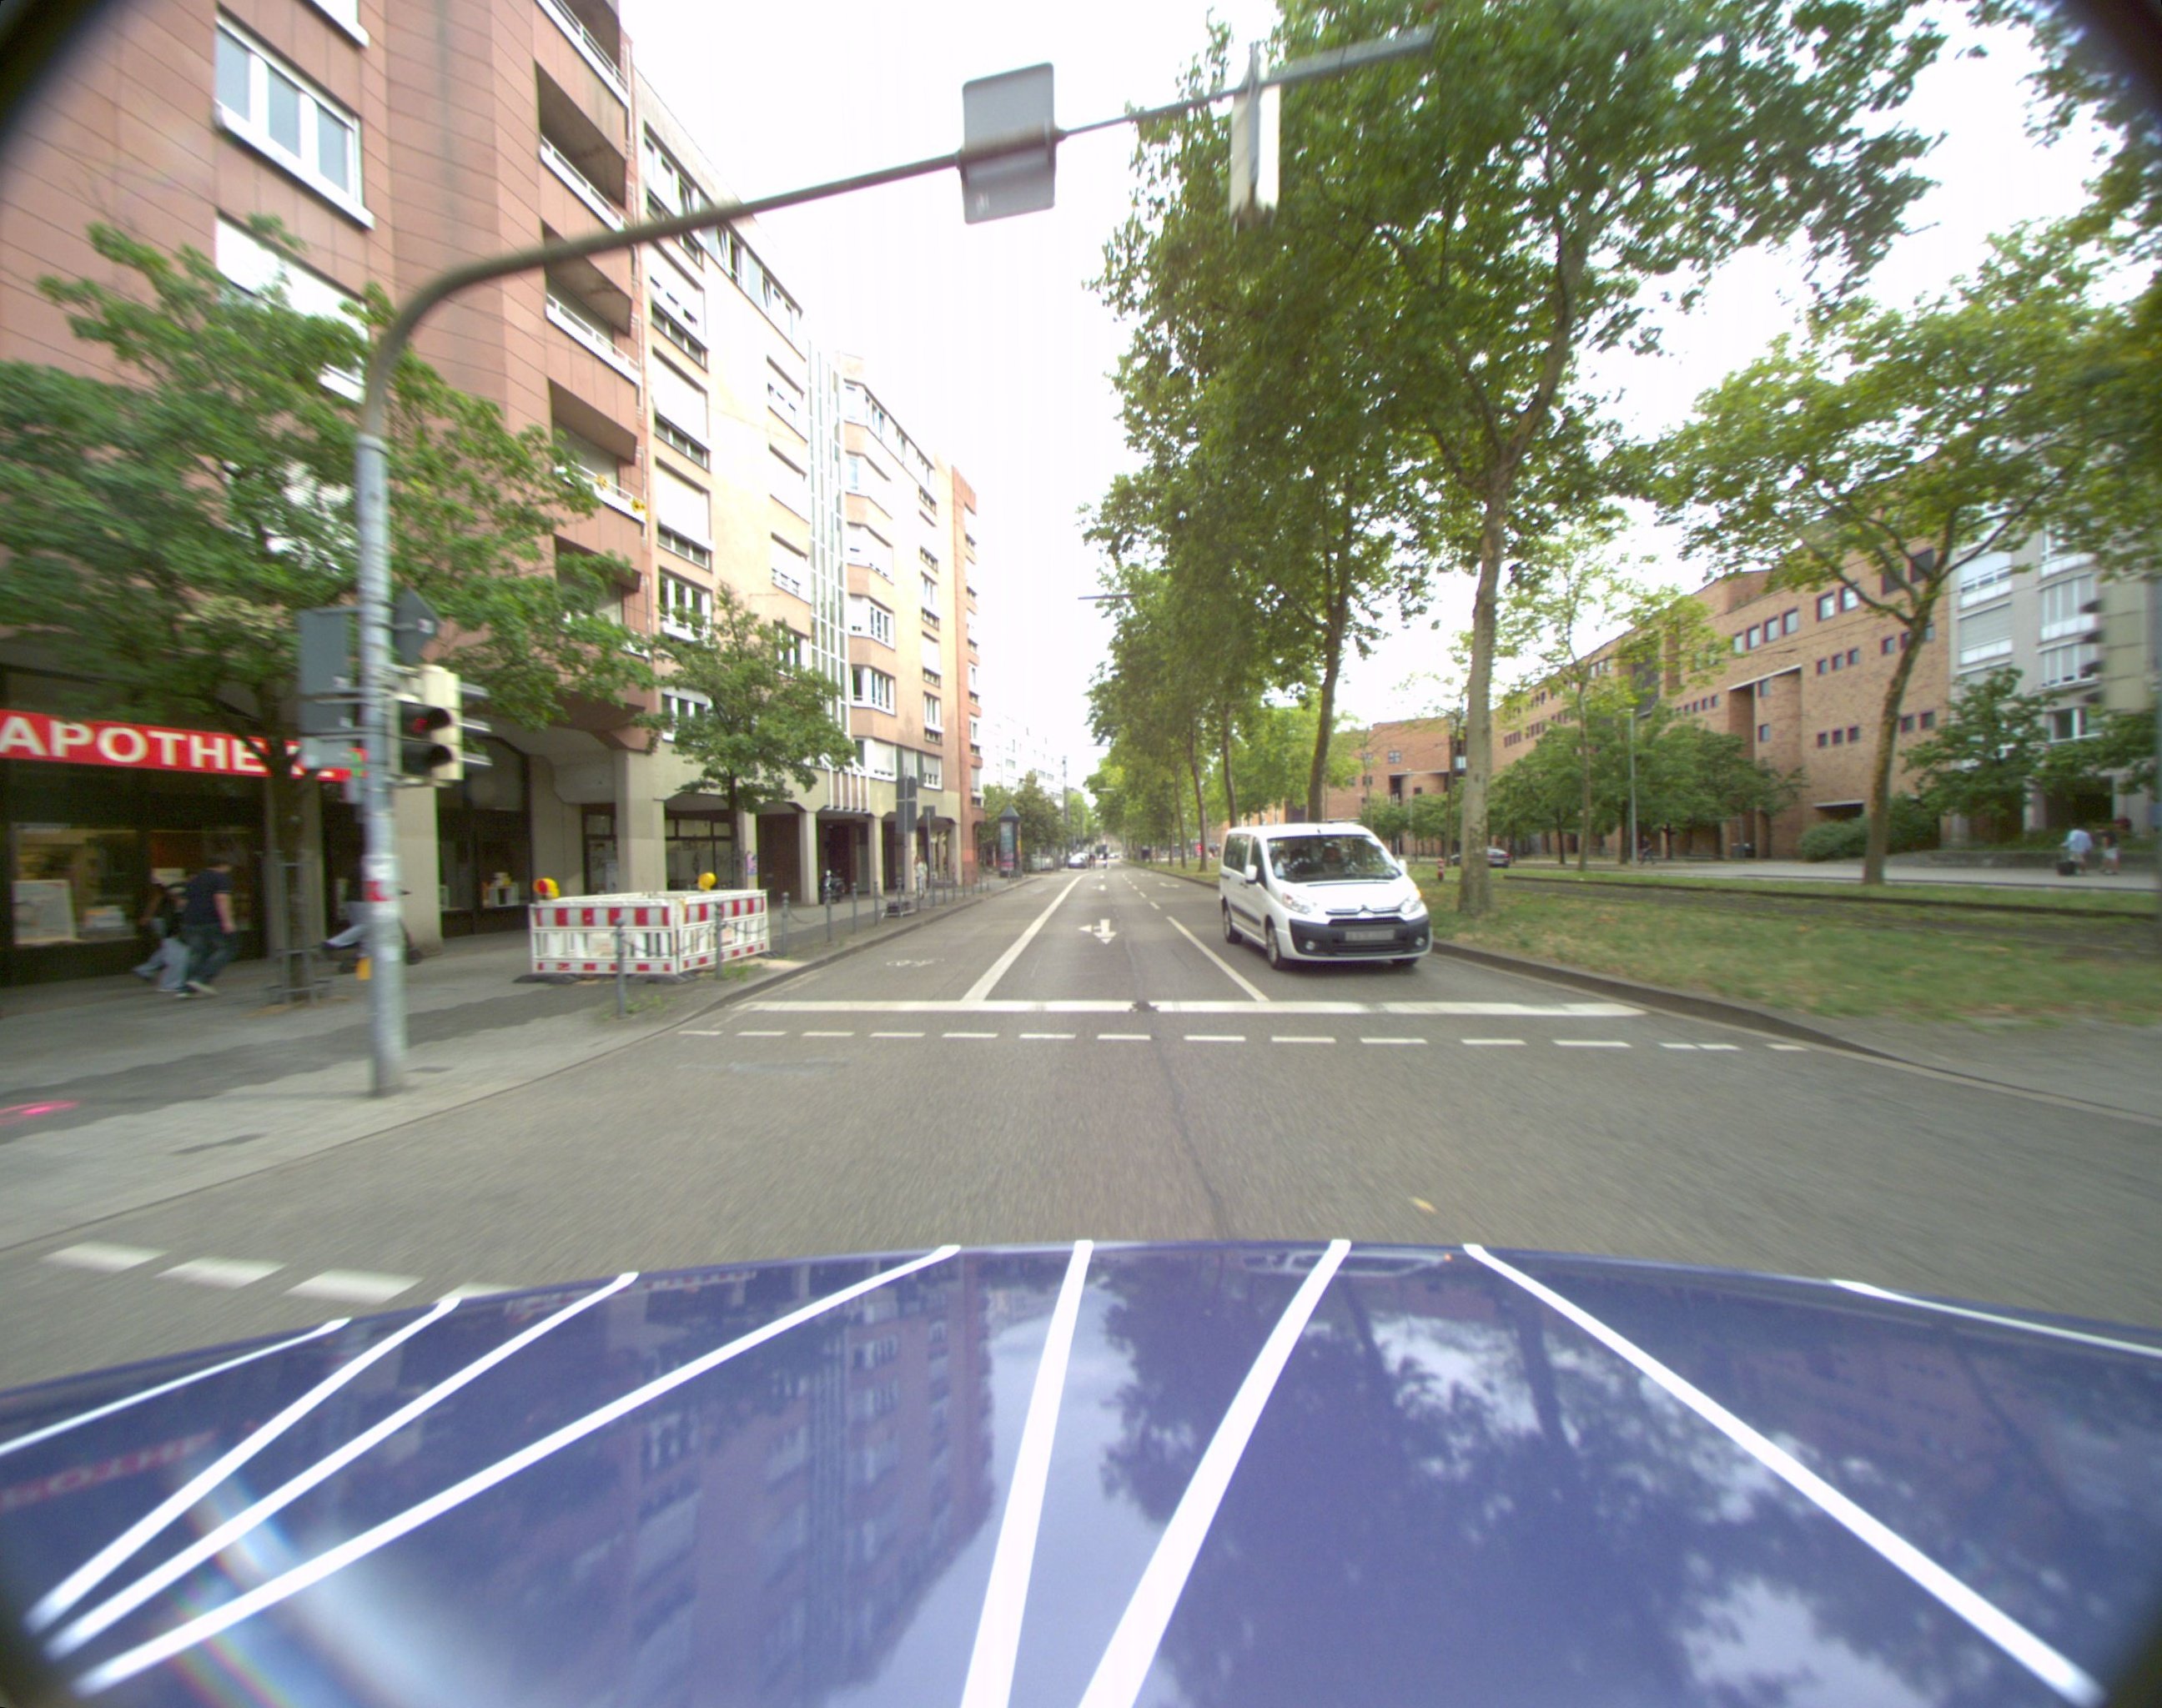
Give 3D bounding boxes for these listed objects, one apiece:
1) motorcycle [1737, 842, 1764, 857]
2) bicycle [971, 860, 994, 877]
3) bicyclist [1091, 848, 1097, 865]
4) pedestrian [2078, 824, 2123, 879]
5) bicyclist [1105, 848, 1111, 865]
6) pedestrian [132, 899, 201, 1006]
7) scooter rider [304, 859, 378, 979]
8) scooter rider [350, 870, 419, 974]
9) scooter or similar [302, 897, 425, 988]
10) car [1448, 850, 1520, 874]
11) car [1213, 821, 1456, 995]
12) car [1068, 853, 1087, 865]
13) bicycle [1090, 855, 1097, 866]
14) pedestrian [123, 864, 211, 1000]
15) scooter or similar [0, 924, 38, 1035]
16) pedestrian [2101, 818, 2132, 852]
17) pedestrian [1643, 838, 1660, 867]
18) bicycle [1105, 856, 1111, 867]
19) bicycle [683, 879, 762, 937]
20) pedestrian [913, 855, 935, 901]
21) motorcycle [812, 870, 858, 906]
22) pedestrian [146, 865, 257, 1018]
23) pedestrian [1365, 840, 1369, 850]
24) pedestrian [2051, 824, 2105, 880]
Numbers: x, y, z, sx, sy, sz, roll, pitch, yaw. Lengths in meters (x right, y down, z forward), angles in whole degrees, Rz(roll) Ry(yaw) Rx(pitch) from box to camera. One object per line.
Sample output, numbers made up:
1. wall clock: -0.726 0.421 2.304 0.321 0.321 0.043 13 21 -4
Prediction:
1. motorcycle: 47.219 -0.294 53.594 1.585 1.017 0.366 -2 1 -1
2. bicycle: -6.794 1.004 52.447 1.660 1.122 0.672 0 1 43
3. bicyclist: 1.313 0.214 79.543 0.591 1.757 1.035 -1 0 2
4. pedestrian: 31.983 -0.075 23.851 0.553 1.695 0.626 -1 0 6
5. bicyclist: 2.872 0.291 80.498 0.591 1.760 1.035 -1 0 2
6. pedestrian: -11.975 1.264 9.964 0.486 1.316 0.487 -2 1 -43
7. scooter rider: -10.859 0.938 11.158 0.463 1.710 0.553 -1 1 8
8. scooter rider: -10.783 1.039 11.776 0.461 1.548 0.565 -1 1 6
9. scooter or similar: -10.807 1.299 11.498 0.474 1.199 1.331 -1 1 6
10. car: 22.856 0.442 43.269 1.733 1.238 4.534 -2 0 1
11. car: 3.263 0.611 10.966 1.936 1.914 4.956 -1 0 2
12. car: -0.373 0.557 89.395 1.820 1.434 4.667 0 0 4
13. bicycle: 1.307 0.710 79.528 0.595 1.132 2.091 -1 0 2
14. pedestrian: -12.664 1.049 10.536 0.552 1.789 0.659 -1 1 32
15. scooter or similar: -12.002 1.375 7.791 0.554 1.163 1.407 -1 1 11
16. pedestrian: 40.780 -0.735 29.924 0.458 1.315 0.555 -1 0 13
17. pedestrian: 33.867 -0.108 45.102 0.553 1.695 0.626 -1 0 6
18. bicycle: 2.878 0.835 80.495 0.595 1.132 1.858 -1 0 2
19. bicycle: -7.818 1.153 16.661 0.613 1.111 1.805 -1 0 9
20. pedestrian: -5.756 0.860 27.855 0.545 1.640 0.825 -1 1 2
21. motorcycle: -8.525 1.164 26.417 0.617 1.149 1.906 0 0 13
22. pedestrian: -10.779 1.043 9.328 0.552 1.789 0.658 -1 1 13
23. pedestrian: 44.427 -1.411 117.875 0.507 1.523 0.521 -1 0 16
24. pedestrian: 31.383 -0.058 23.925 0.553 1.695 0.885 -1 0 6
